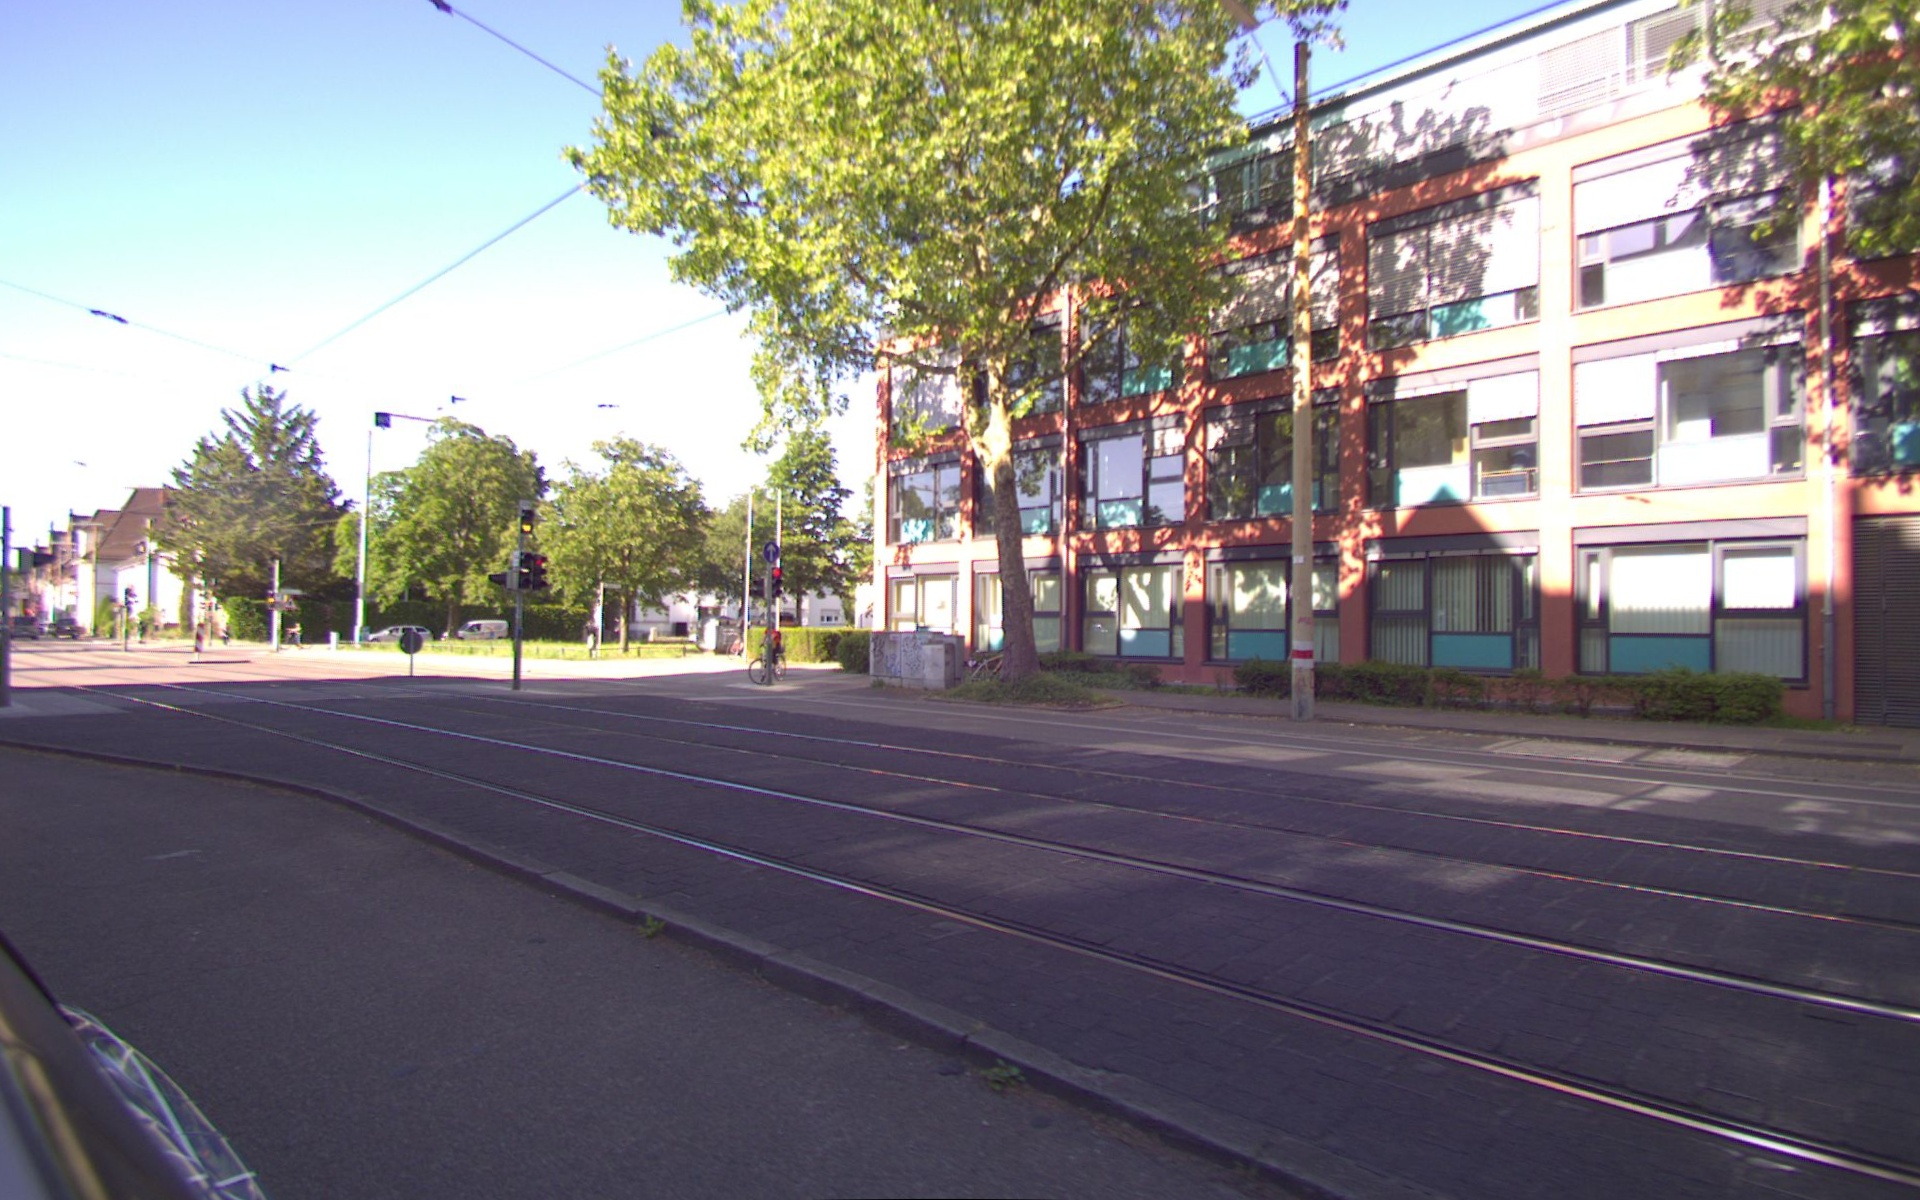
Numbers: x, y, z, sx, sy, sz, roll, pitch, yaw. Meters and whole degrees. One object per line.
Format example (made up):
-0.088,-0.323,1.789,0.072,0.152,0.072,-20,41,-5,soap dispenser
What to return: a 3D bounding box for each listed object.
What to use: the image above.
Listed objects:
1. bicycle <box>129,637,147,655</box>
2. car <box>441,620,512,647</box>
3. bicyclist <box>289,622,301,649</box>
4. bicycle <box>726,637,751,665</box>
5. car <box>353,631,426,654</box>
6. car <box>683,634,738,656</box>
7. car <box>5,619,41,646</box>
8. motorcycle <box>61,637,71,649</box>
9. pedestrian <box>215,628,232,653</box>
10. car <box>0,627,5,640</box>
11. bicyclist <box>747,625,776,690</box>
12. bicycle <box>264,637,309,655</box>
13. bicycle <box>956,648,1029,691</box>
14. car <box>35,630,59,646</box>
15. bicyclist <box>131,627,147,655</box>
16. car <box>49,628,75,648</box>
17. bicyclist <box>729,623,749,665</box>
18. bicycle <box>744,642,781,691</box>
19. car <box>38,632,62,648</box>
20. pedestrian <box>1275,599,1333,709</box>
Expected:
-51.349,2.880,63.223,1.826,1.122,0.580,-2,-5,42,bicycle
-34.784,2.389,72.809,4.250,1.881,1.818,1,-2,-43,car
-41.706,2.226,63.451,0.550,1.635,0.900,2,-3,-37,bicyclist
-8.774,2.017,40.111,0.636,1.050,1.931,-1,-1,-22,bicycle
-37.533,2.815,66.639,3.936,1.444,1.819,2,-3,-40,car
-21.035,3.815,85.500,4.137,1.756,1.818,3,-3,-43,car
-77.532,2.746,83.788,1.995,2.029,5.256,4,-6,-42,car
-79.566,3.832,90.091,0.597,1.054,2.439,0,-2,-43,motorcycle
-47.181,2.573,64.844,0.615,1.568,0.679,-1,-1,-4,pedestrian
-127.944,4.481,134.049,1.895,1.728,4.005,0,-2,-41,car
-5.343,1.539,27.249,0.596,1.705,0.935,-1,-1,-20,bicyclist
-42.059,2.857,63.169,2.250,1.126,0.932,2,-3,-37,bicycle
0.725,1.527,22.397,1.533,0.913,0.518,0,-2,22,bicycle
-104.469,4.362,115.754,1.897,1.728,4.002,0,-2,-45,car
-51.265,2.591,63.166,0.901,1.724,0.580,-2,-5,42,bicyclist
-89.830,3.762,101.252,1.896,1.915,4.004,0,-2,-42,car
-8.737,1.734,39.999,0.636,1.624,0.783,-1,-1,-22,bicyclist
-5.332,1.768,27.226,0.623,1.138,2.042,-2,1,-20,bicycle
-100.237,4.398,111.464,1.897,1.728,4.003,0,-2,-44,car
6.549,1.006,19.259,0.779,2.029,0.902,-2,-2,36,pedestrian
